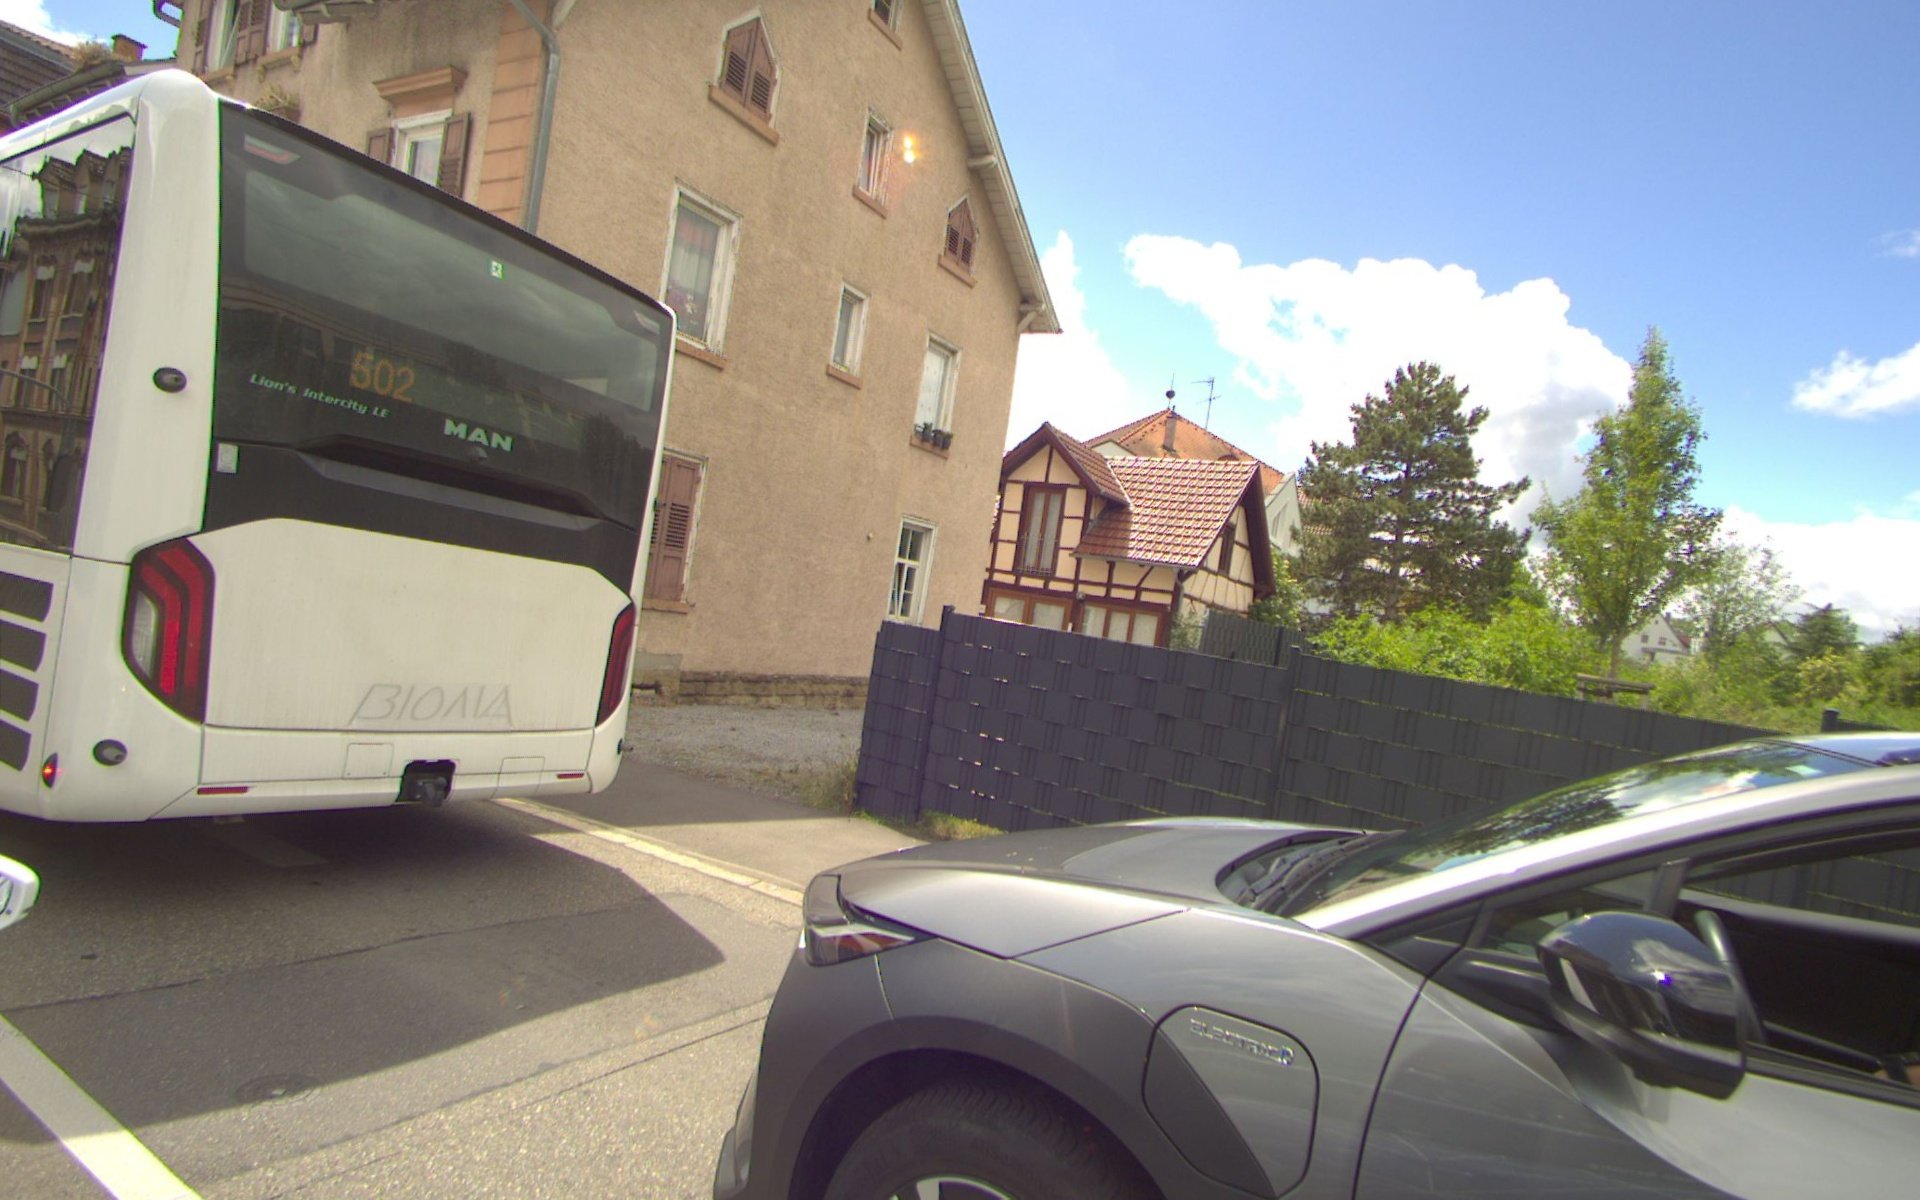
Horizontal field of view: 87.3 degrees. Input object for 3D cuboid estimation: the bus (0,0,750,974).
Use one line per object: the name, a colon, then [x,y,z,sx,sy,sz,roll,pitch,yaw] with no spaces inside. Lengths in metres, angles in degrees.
bus: [-7.337,-0.972,7.699,12.281,3.551,2.910,6,-2,32]

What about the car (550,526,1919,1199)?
car: [1.610,0.969,1.844,4.504,1.648,1.997,7,-1,31]
